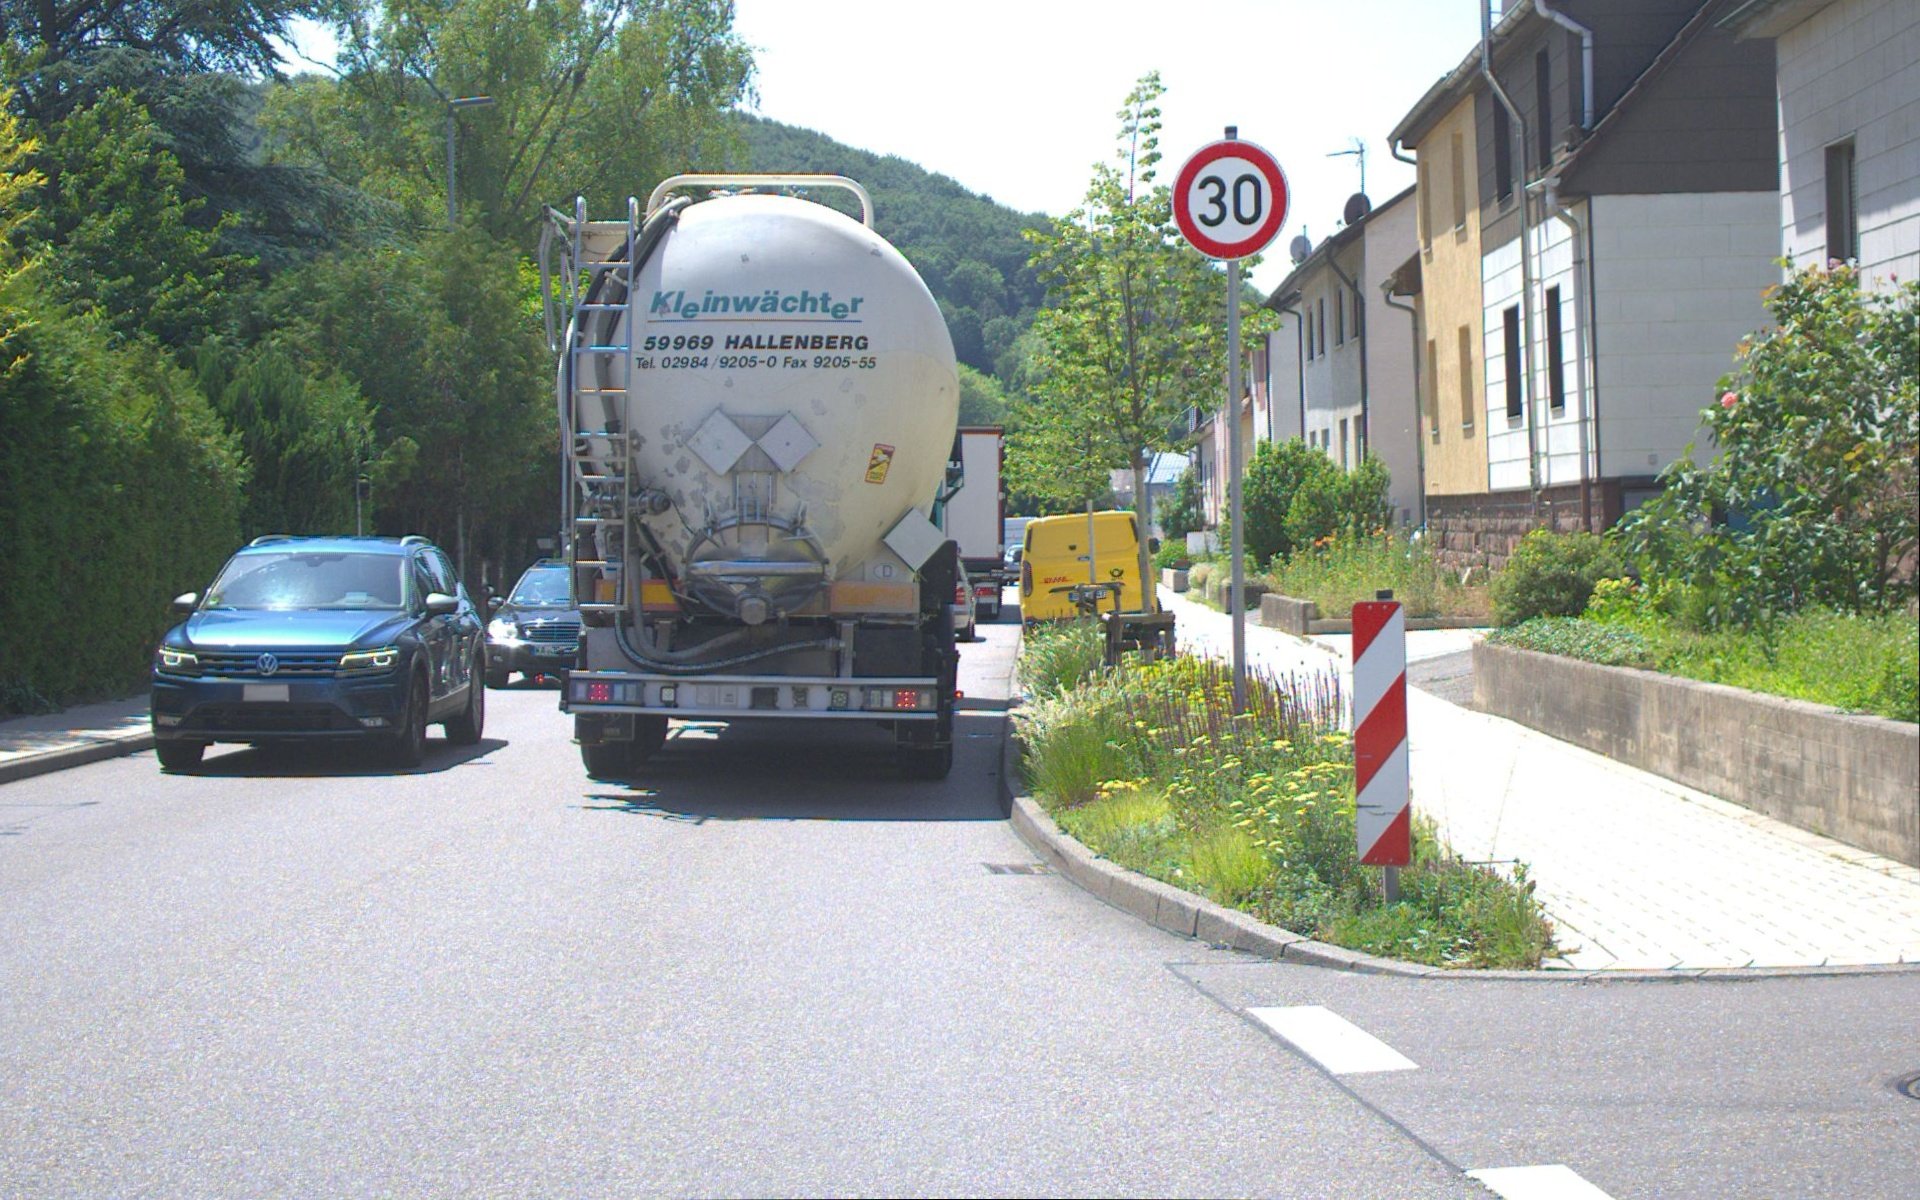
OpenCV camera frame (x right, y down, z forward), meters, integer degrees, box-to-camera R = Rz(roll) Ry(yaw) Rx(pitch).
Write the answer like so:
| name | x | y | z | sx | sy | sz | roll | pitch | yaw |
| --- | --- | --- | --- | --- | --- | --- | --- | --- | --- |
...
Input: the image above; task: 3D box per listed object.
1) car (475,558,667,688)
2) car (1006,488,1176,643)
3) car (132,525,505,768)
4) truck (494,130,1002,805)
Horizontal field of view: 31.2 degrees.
| name | x | y | z | sx | sy | sz | roll | pitch | yaw |
| --- | --- | --- | --- | --- | --- | --- | --- | --- | --- |
| car | -4.398 | 0.236 | 39.413 | 1.766 | 1.397 | 4.248 | 0 | 0 | -1 |
| car | 1.903 | -0.506 | 51.684 | 2.189 | 2.007 | 5.623 | -5 | 0 | 0 |
| car | -4.683 | 0.305 | 25.762 | 1.888 | 1.639 | 4.613 | 0 | 0 | 0 |
| truck | -1.210 | -0.911 | 26.123 | 2.750 | 4.043 | 10.889 | 0 | 1 | 2 |
